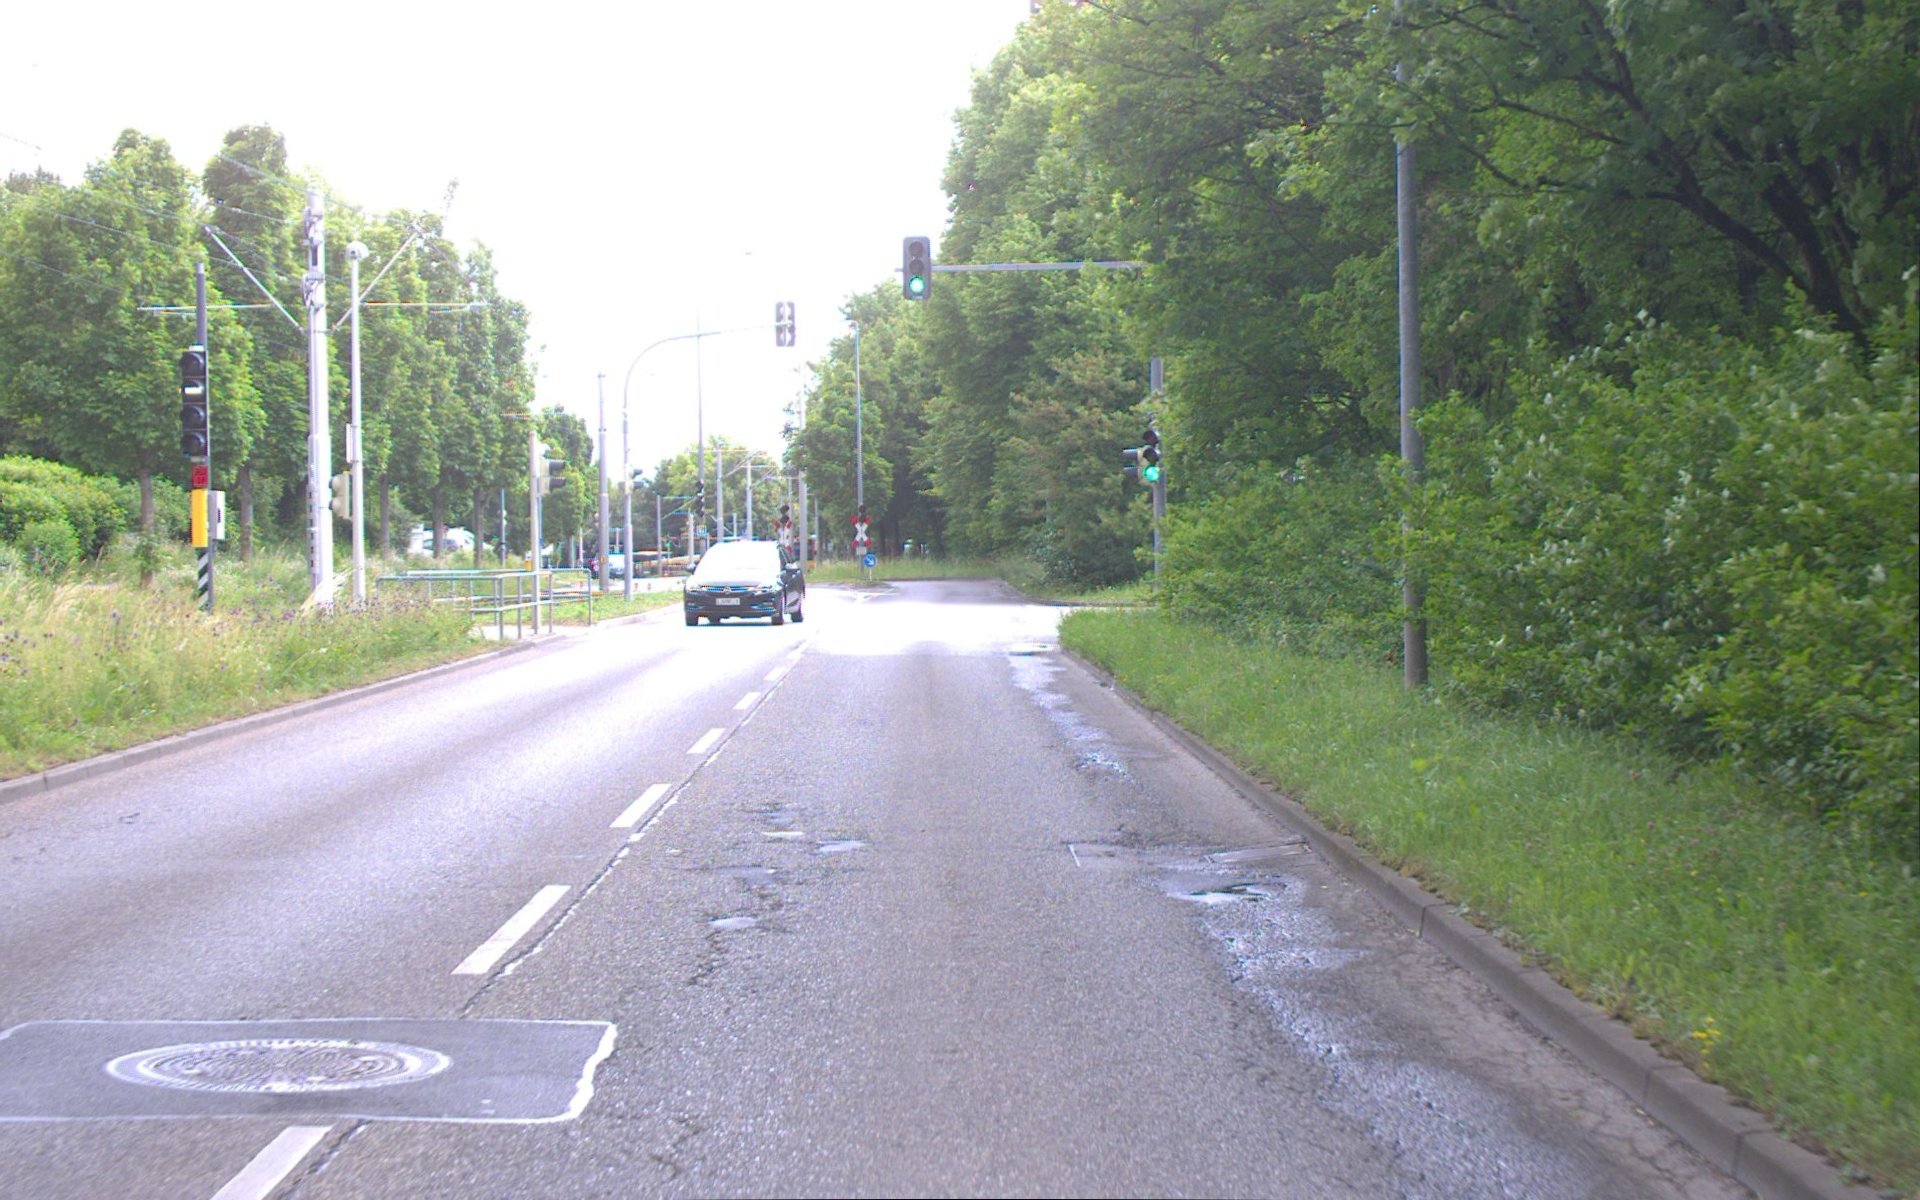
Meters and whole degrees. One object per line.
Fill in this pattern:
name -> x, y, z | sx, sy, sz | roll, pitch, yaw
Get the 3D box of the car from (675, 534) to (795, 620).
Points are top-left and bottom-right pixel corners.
car -> -4.022, -0.440, 62.038 | 1.850, 1.465, 4.256 | 0, 1, 1
